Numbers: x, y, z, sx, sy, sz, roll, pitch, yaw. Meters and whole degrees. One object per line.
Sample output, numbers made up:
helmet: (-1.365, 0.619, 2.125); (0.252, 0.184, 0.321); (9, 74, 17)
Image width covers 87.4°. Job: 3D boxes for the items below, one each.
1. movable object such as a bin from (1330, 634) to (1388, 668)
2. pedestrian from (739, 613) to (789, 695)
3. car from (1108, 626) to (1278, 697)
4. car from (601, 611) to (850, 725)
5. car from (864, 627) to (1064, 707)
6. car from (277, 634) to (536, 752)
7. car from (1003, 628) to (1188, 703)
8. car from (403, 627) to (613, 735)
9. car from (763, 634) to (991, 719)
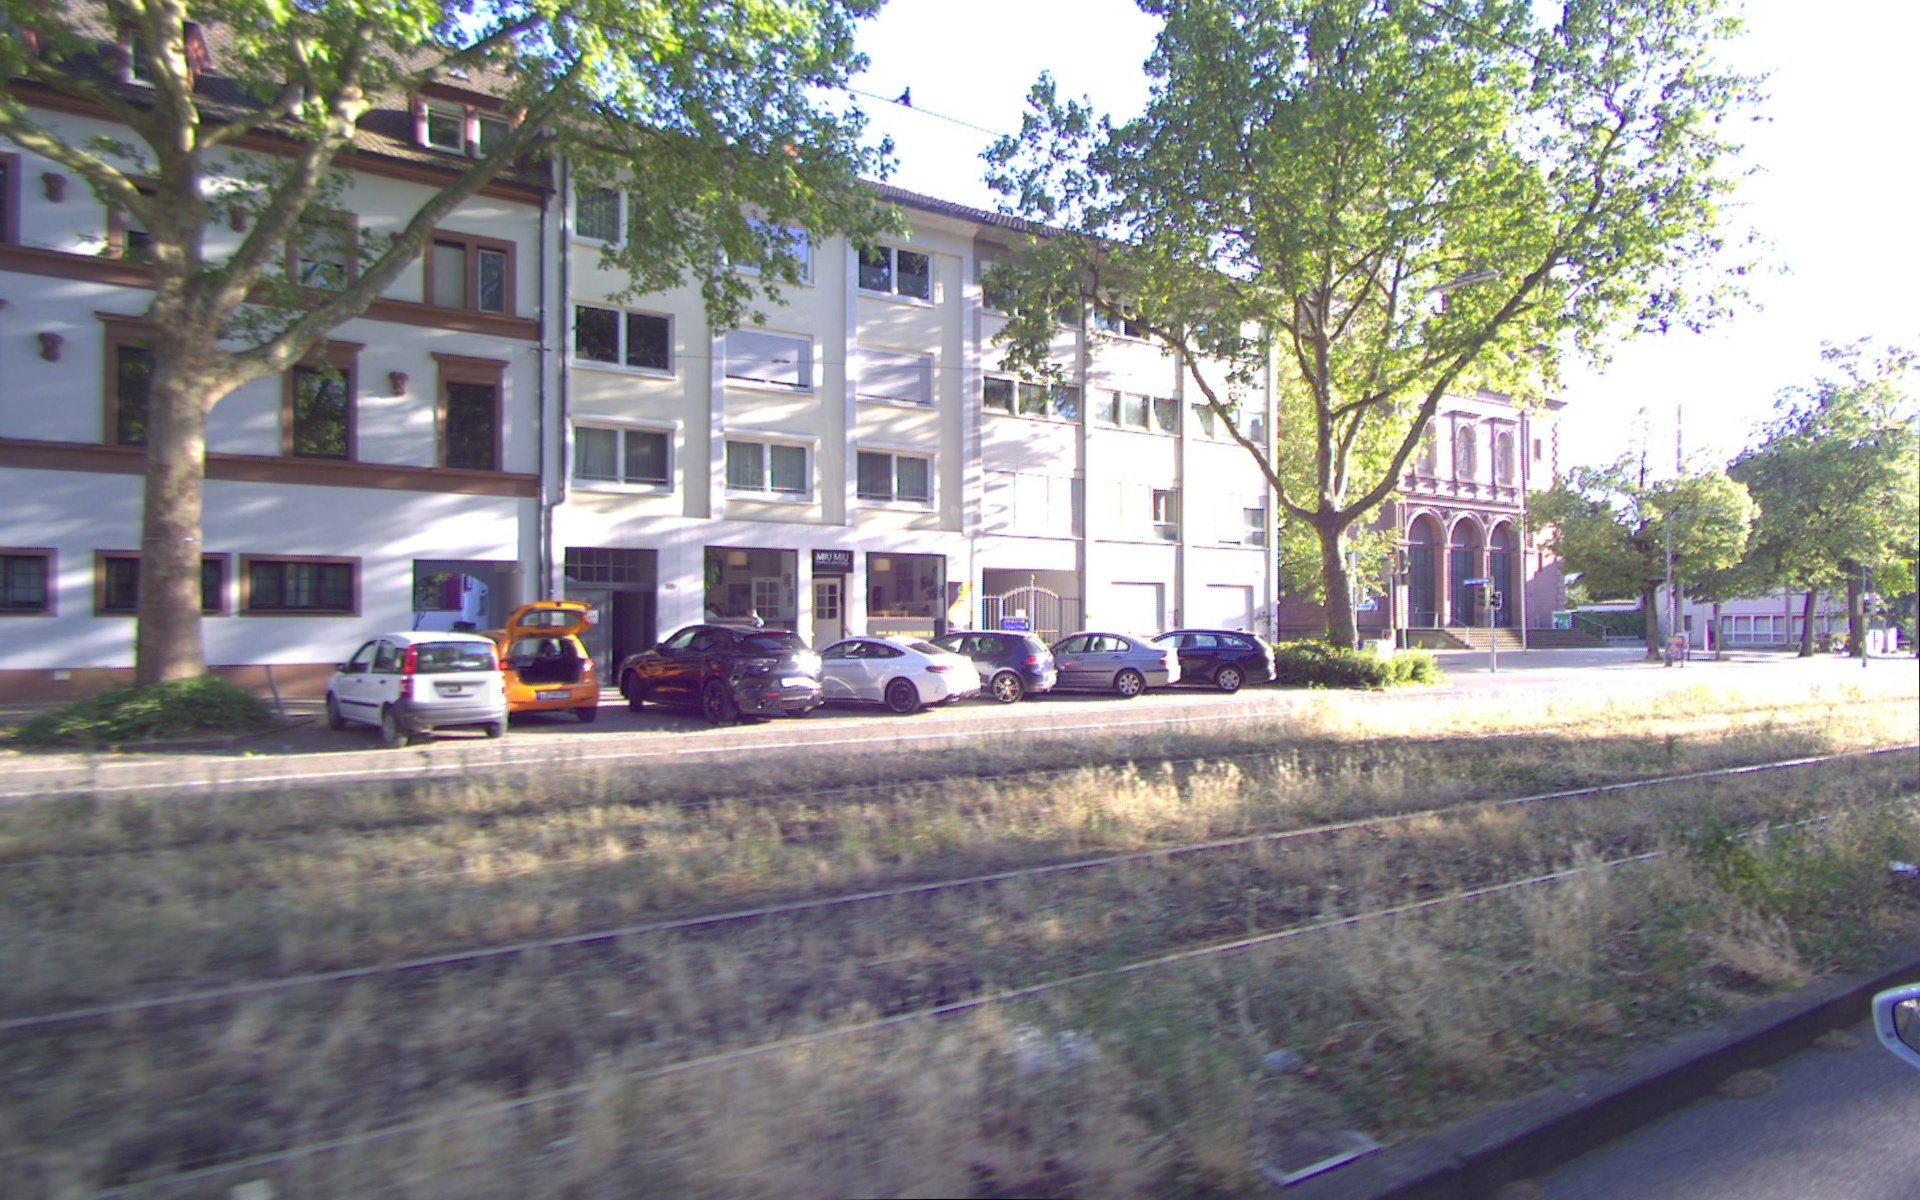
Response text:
movable object such as a bin: (17.660, 2.243, 44.488); (2.416, 1.228, 1.102); (-3, 2, -29)
pedestrian: (-4.751, 1.291, 24.341); (0.941, 1.925, 0.894); (1, -1, -33)
car: (5.756, 1.455, 24.723); (3.920, 1.499, 1.818); (1, 0, 18)
car: (-4.237, 1.218, 17.923); (4.292, 1.809, 1.988); (-3, -4, 35)
car: (0.114, 1.389, 21.661); (3.920, 1.460, 1.802); (1, 0, 18)
car: (-8.423, 1.296, 15.160); (4.291, 1.468, 1.654); (0, -1, 34)
car: (3.124, 1.449, 23.119); (3.921, 1.460, 1.722); (1, 0, 20)
car: (-7.806, 1.278, 17.206); (3.940, 1.499, 1.769); (1, 0, 41)
car: (-1.640, 1.430, 19.707); (4.125, 1.351, 1.721); (1, 0, 25)
